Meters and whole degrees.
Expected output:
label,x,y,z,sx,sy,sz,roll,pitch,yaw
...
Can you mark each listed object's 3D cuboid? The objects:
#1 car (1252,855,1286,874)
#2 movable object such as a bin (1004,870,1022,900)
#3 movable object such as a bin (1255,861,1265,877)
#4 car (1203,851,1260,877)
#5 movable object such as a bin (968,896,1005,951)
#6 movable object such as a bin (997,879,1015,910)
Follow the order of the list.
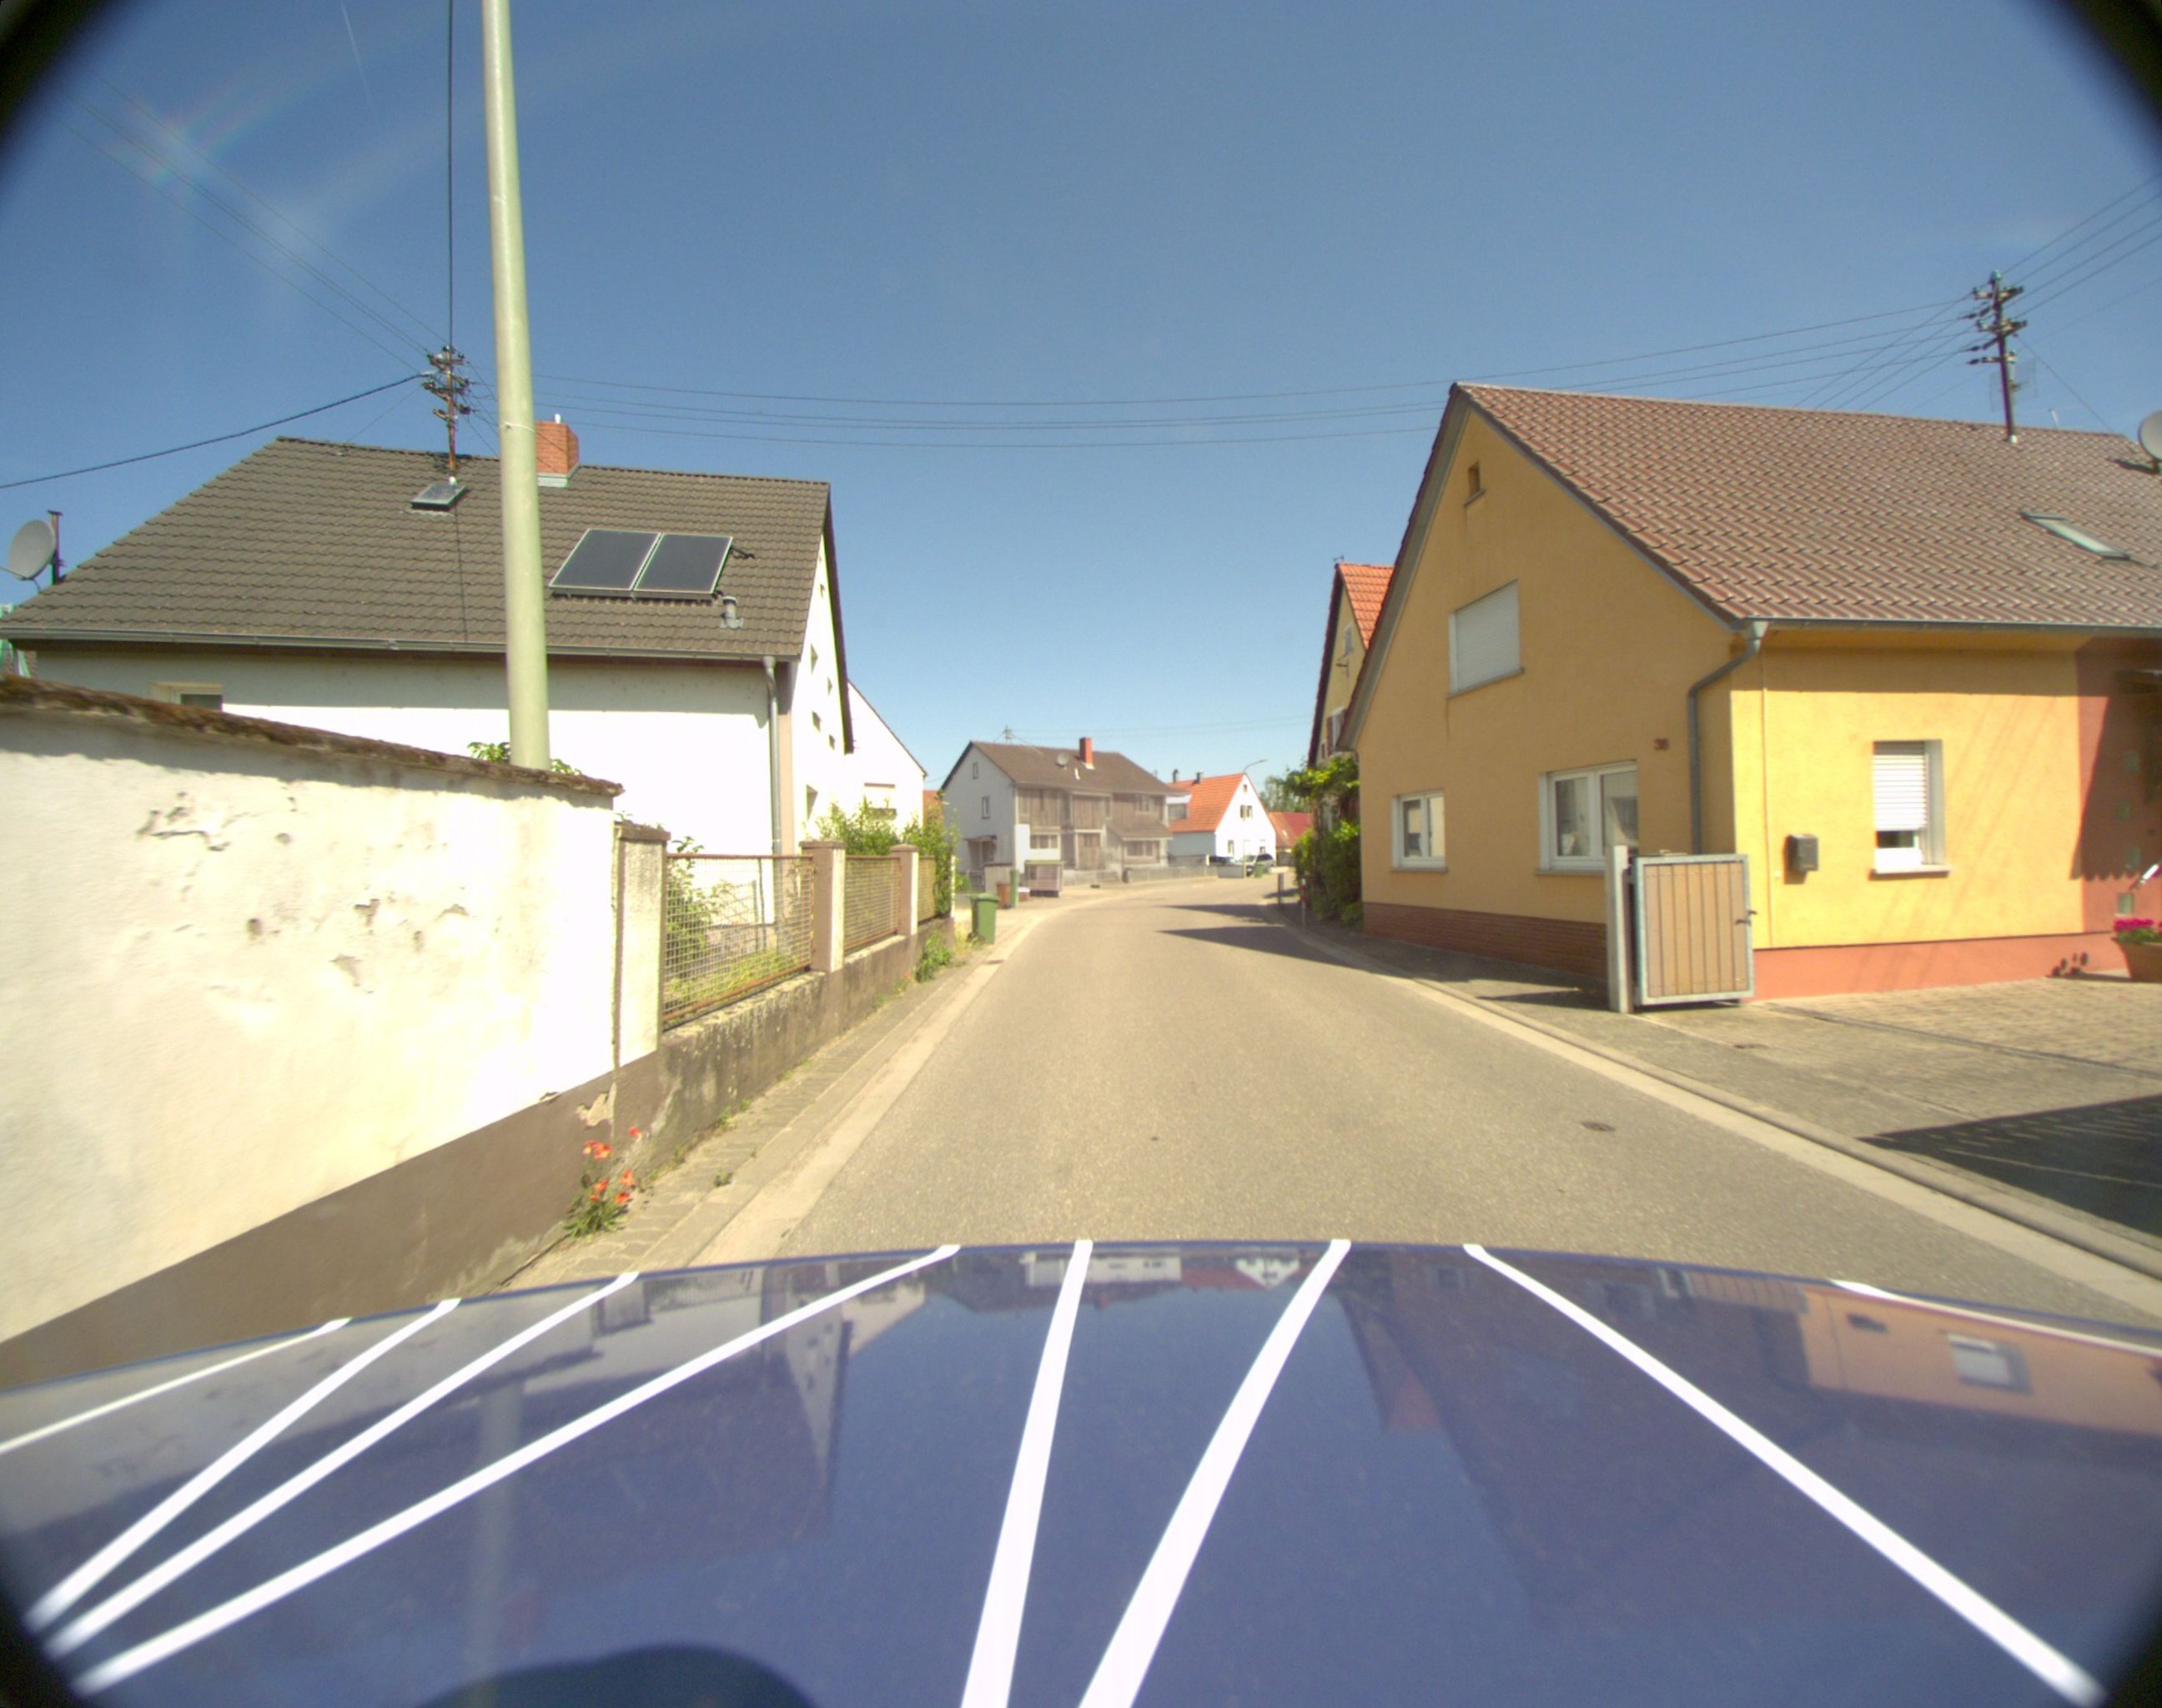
label,x,y,z,sx,sy,sz,roll,pitch,yaw
car,15.243,0.832,61.453,1.521,1.365,3.605,-1,0,34
movable object such as a bin,-2.306,1.035,25.737,0.505,0.971,0.495,-2,1,1
movable object such as a bin,12.647,1.081,53.782,0.570,1.136,0.433,-1,0,1
car,11.372,0.753,57.525,1.705,1.834,3.989,-2,0,-39
movable object such as a bin,-1.762,1.287,14.157,0.552,0.971,0.432,-2,0,-24
movable object such as a bin,-2.442,1.304,24.694,0.505,0.971,0.433,-2,1,1
